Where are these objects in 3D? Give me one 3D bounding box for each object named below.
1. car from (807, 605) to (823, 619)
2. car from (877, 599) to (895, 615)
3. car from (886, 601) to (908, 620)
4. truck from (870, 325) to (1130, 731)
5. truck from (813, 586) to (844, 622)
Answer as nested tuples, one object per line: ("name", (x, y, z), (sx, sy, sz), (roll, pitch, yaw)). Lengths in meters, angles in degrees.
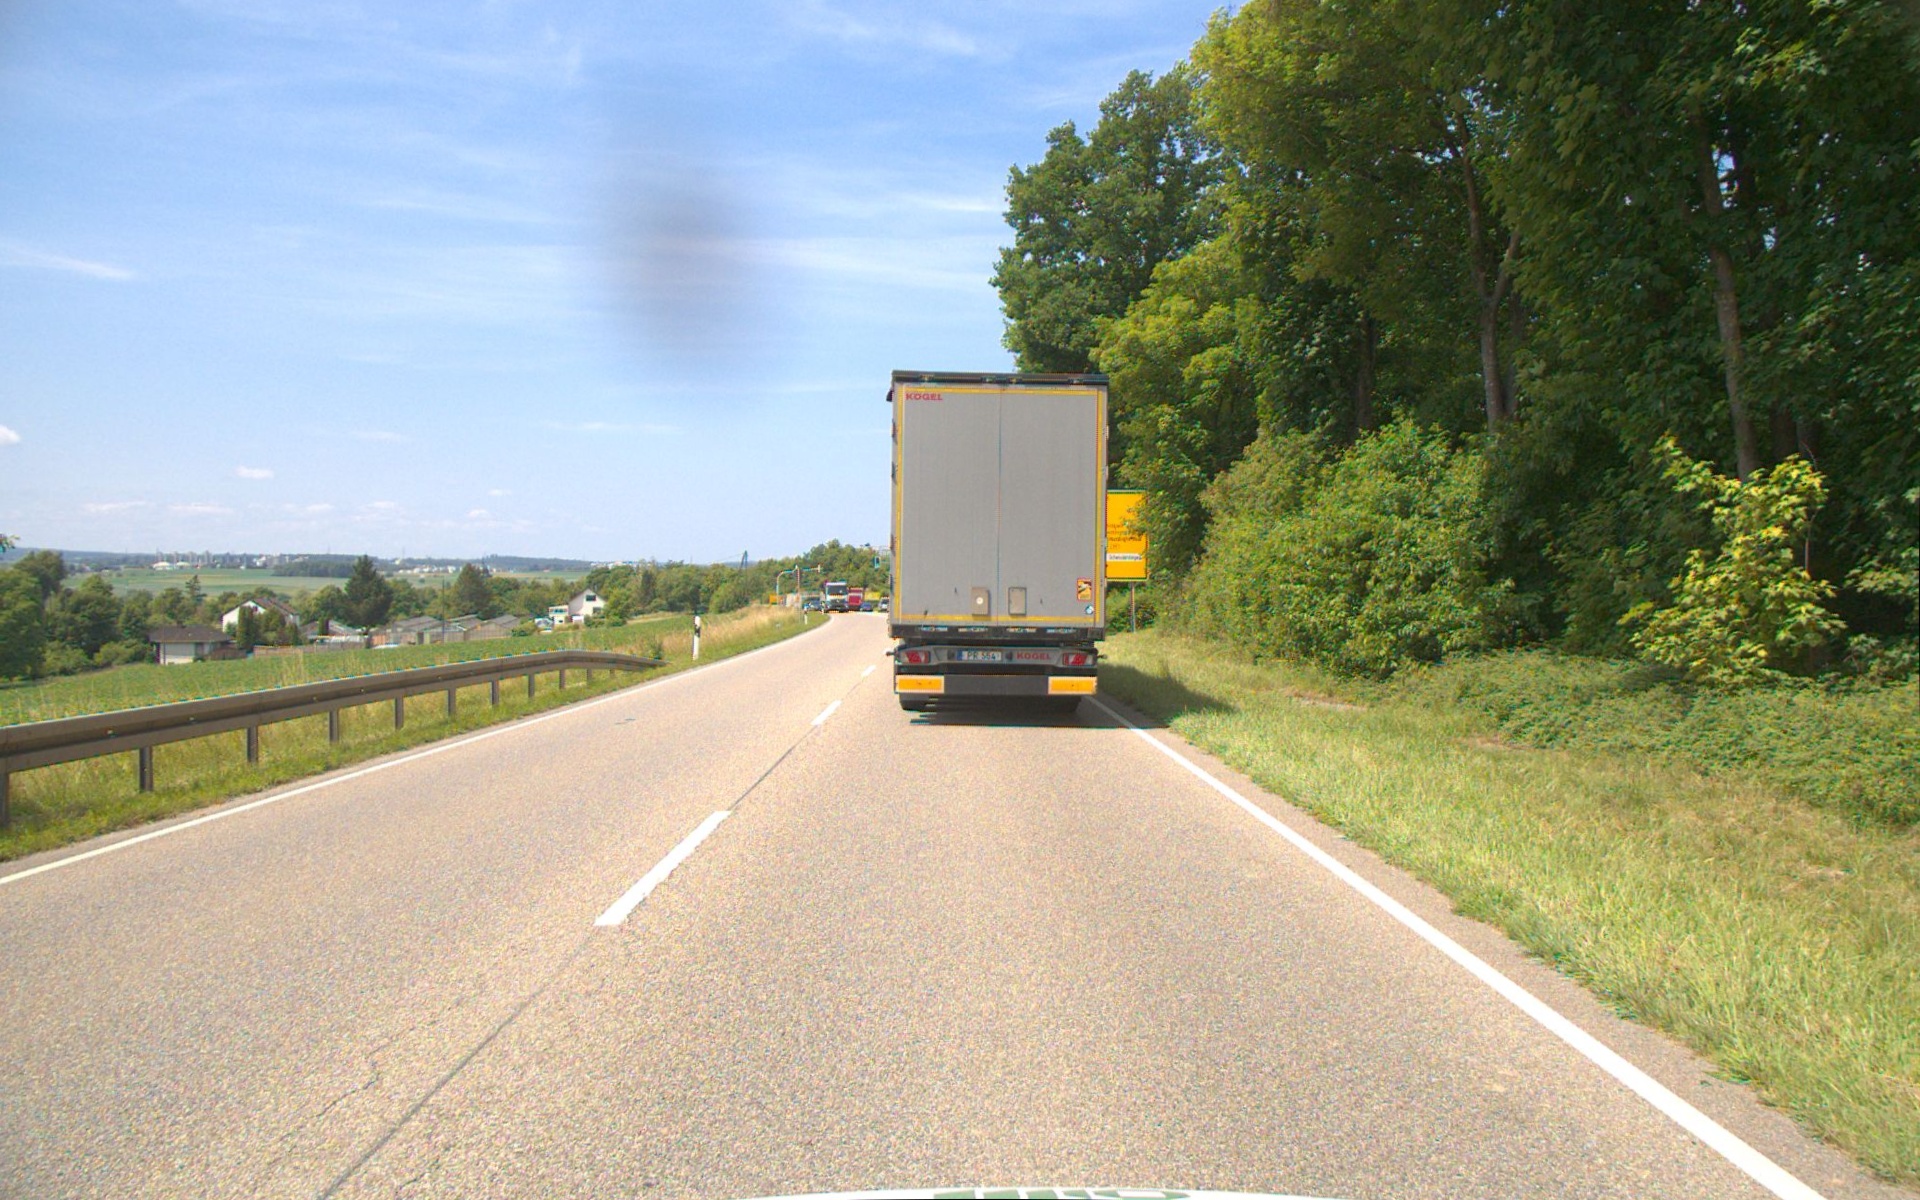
("car", (-21.127, 1.763, 240.846), (1.956, 1.984, 4.494), (-2, 0, -8))
("car", (-9.059, 0.863, 202.070), (1.856, 1.808, 4.381), (-2, 0, -6))
("car", (-7.191, 1.228, 187.991), (2.129, 2.049, 4.520), (-2, 0, -6))
("truck", (0.308, -0.809, 22.855), (2.848, 4.487, 8.856), (1, 0, -2))
("truck", (-14.333, 0.499, 179.493), (2.704, 3.638, 11.045), (-2, 0, -7))
